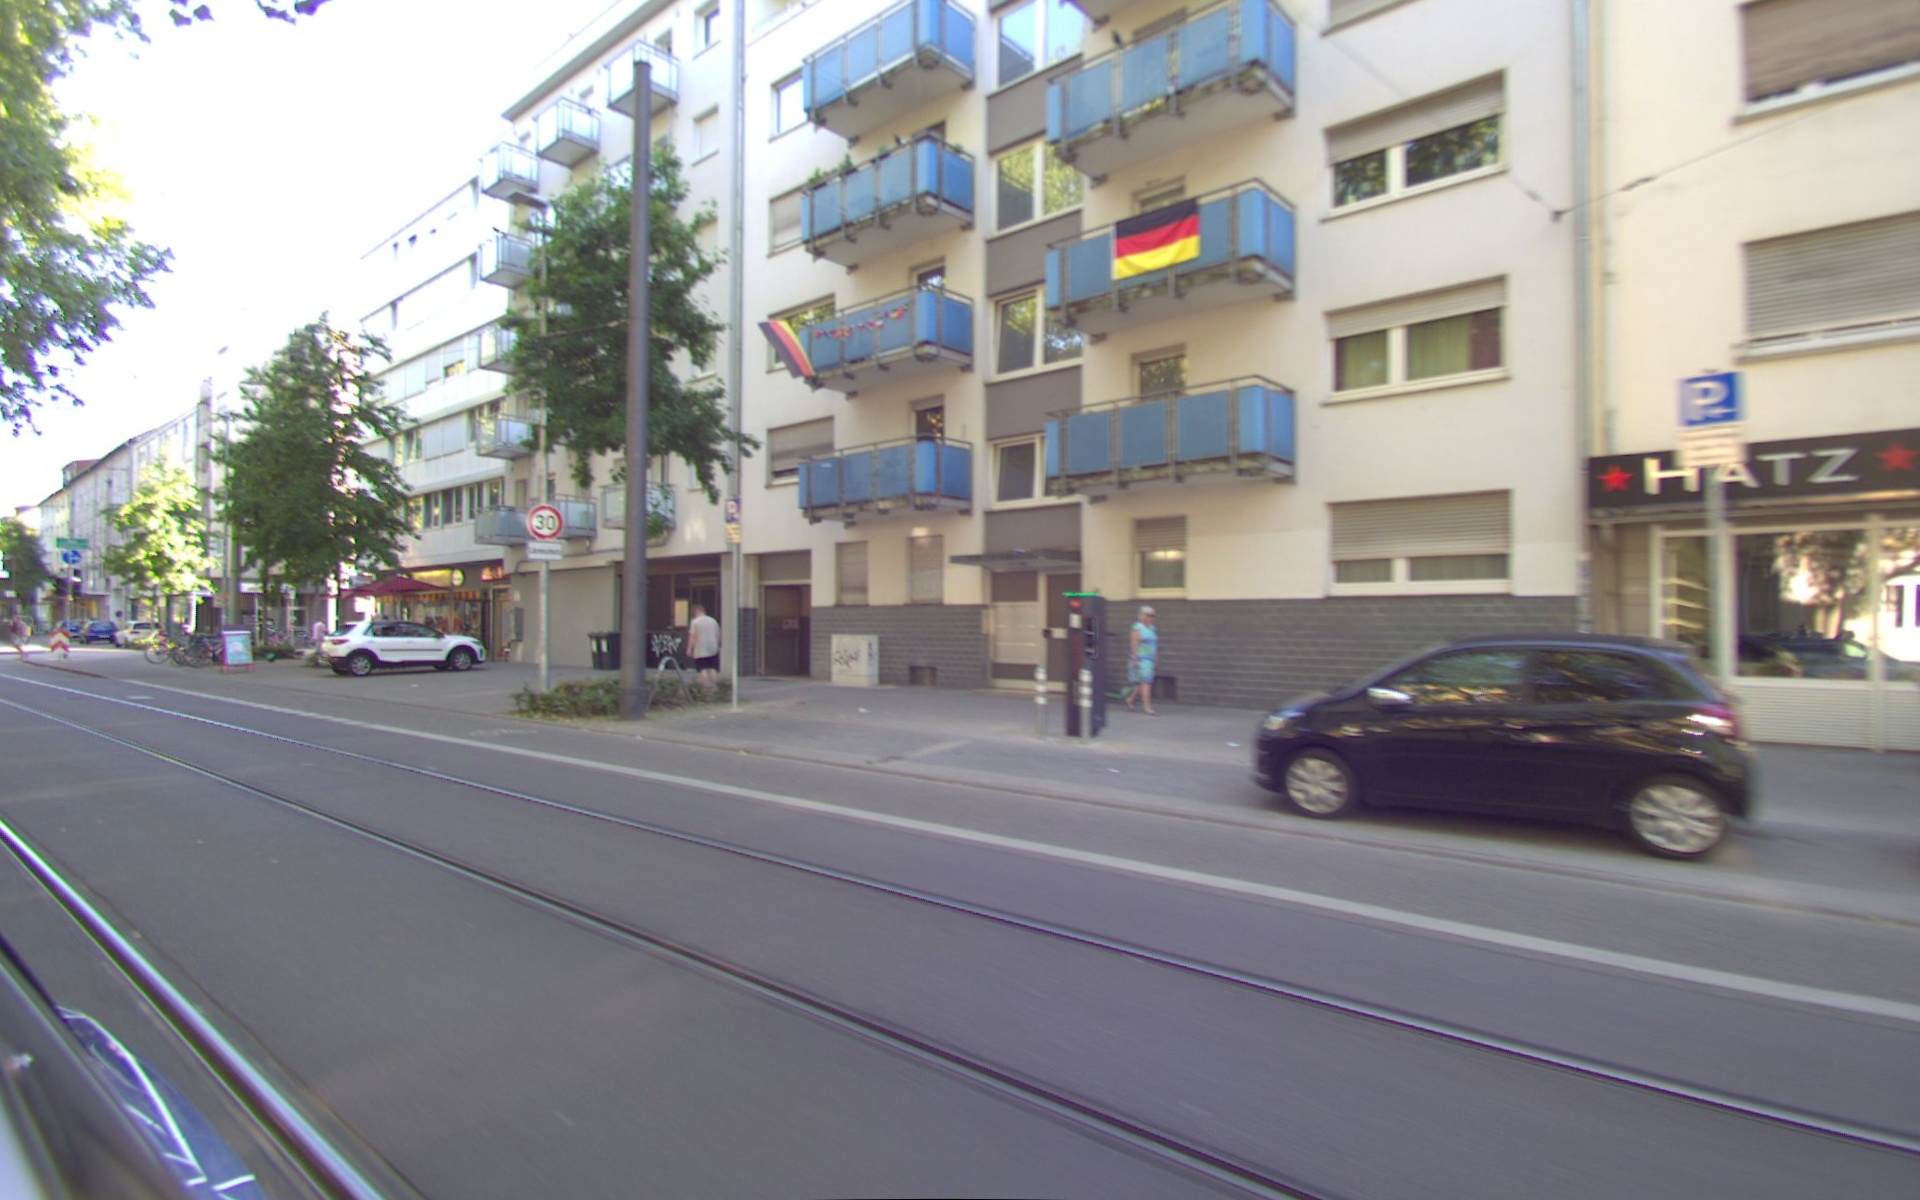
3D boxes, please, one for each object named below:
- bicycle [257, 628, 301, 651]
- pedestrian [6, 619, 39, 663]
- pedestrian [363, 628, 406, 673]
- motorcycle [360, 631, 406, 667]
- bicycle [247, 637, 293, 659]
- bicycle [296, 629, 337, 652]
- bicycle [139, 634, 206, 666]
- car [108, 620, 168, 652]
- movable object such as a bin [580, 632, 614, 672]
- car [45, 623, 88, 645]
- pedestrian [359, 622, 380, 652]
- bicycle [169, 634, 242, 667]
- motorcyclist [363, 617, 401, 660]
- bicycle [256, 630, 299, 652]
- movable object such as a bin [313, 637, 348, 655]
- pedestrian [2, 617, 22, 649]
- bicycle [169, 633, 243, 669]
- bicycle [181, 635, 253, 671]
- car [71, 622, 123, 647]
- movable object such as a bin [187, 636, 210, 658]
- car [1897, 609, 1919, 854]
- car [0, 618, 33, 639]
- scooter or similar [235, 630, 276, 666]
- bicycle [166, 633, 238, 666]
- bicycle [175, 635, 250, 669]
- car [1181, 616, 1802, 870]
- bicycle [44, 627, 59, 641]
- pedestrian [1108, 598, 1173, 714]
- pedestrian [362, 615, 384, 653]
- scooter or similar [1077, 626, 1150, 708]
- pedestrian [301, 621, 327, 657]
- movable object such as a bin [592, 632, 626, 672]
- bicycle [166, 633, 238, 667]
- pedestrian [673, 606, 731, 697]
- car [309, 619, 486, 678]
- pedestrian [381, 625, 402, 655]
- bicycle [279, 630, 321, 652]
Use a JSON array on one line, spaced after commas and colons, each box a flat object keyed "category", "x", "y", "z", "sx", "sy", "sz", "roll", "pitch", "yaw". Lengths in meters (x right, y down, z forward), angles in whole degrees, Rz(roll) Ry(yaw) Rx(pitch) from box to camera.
[{"category": "bicycle", "x": -35.795, "y": 2.070, "z": 53.186, "sx": 1.836, "sy": 1.165, "sz": 0.572, "roll": 2, "pitch": -3, "yaw": -44}, {"category": "pedestrian", "x": -36.054, "y": 1.577, "z": 38.909, "sx": 0.767, "sy": 1.684, "sz": 0.750, "roll": -1, "pitch": -3, "yaw": 36}, {"category": "pedestrian", "x": -16.969, "y": 1.472, "z": 29.834, "sx": 0.907, "sy": 1.307, "sz": 0.707, "roll": -1, "pitch": -2, "yaw": 28}, {"category": "motorcycle", "x": -19.833, "y": 1.667, "z": 34.763, "sx": 1.915, "sy": 1.173, "sz": 0.839, "roll": -2, "pitch": -3, "yaw": 43}, {"category": "bicycle", "x": -36.598, "y": 2.531, "z": 53.702, "sx": 0.568, "sy": 1.165, "sz": 2.024, "roll": 0, "pitch": -2, "yaw": 19}, {"category": "bicycle", "x": -34.316, "y": 2.155, "z": 53.970, "sx": 1.760, "sy": 1.165, "sz": 0.573, "roll": 2, "pitch": -2, "yaw": -37}, {"category": "bicycle", "x": -26.735, "y": 1.682, "z": 34.367, "sx": 0.657, "sy": 1.015, "sz": 1.675, "roll": -1, "pitch": -1, "yaw": 37}, {"category": "car", "x": -45.333, "y": 1.951, "z": 55.783, "sx": 4.356, "sy": 1.663, "sz": 1.858, "roll": -1, "pitch": 0, "yaw": 41}, {"category": "movable object such as a bin", "x": -9.991, "y": 1.420, "z": 27.861, "sx": 0.622, "sy": 1.063, "sz": 0.670, "roll": -2, "pitch": -3, "yaw": 43}, {"category": "car", "x": -62.856, "y": 2.384, "z": 71.175, "sx": 4.281, "sy": 1.475, "sz": 1.775, "roll": -1, "pitch": -3, "yaw": 42}, {"category": "pedestrian", "x": -23.851, "y": 1.478, "z": 40.886, "sx": 0.560, "sy": 1.207, "sz": 0.509, "roll": -1, "pitch": -2, "yaw": 26}, {"category": "bicycle", "x": -24.550, "y": 1.630, "z": 32.957, "sx": 0.657, "sy": 1.015, "sz": 1.812, "roll": -1, "pitch": -1, "yaw": 37}, {"category": "motorcyclist", "x": -19.879, "y": 1.325, "z": 34.801, "sx": 1.016, "sy": 1.452, "sz": 0.864, "roll": -2, "pitch": -3, "yaw": 43}, {"category": "bicycle", "x": -35.294, "y": 2.120, "z": 52.348, "sx": 1.759, "sy": 1.165, "sz": 0.574, "roll": 1, "pitch": -2, "yaw": -17}, {"category": "movable object such as a bin", "x": -28.582, "y": 2.081, "z": 45.940, "sx": 0.661, "sy": 0.763, "sz": 1.188, "roll": 0, "pitch": -1, "yaw": 20}, {"category": "pedestrian", "x": -47.552, "y": 1.653, "z": 50.742, "sx": 0.772, "sy": 1.597, "sz": 0.647, "roll": -1, "pitch": -2, "yaw": 42}, {"category": "bicycle", "x": -24.354, "y": 1.627, "z": 32.696, "sx": 0.657, "sy": 1.072, "sz": 1.812, "roll": -1, "pitch": -1, "yaw": 37}, {"category": "bicycle", "x": -22.851, "y": 1.608, "z": 31.129, "sx": 0.657, "sy": 1.015, "sz": 1.675, "roll": -1, "pitch": -1, "yaw": 37}, {"category": "car", "x": -54.412, "y": 2.168, "z": 63.781, "sx": 4.388, "sy": 1.556, "sz": 1.935, "roll": -1, "pitch": -3, "yaw": 42}, {"category": "movable object such as a bin", "x": -32.954, "y": 2.038, "z": 43.785, "sx": 0.646, "sy": 0.939, "sz": 0.536, "roll": -1, "pitch": -2, "yaw": 25}, {"category": "car", "x": 7.684, "y": 0.807, "z": 4.959, "sx": 4.371, "sy": 1.475, "sz": 1.697, "roll": -1, "pitch": 1, "yaw": 38}, {"category": "car", "x": -87.625, "y": 2.629, "z": 93.950, "sx": 4.047, "sy": 1.949, "sz": 1.785, "roll": -1, "pitch": -3, "yaw": 41}, {"category": "scooter or similar", "x": -24.036, "y": 1.616, "z": 34.532, "sx": 0.498, "sy": 1.185, "sz": 1.068, "roll": -1, "pitch": -1, "yaw": 40}, {"category": "bicycle", "x": -25.274, "y": 1.640, "z": 33.778, "sx": 0.657, "sy": 1.015, "sz": 1.812, "roll": -1, "pitch": -1, "yaw": 37}, {"category": "bicycle", "x": -23.700, "y": 1.634, "z": 32.122, "sx": 0.657, "sy": 1.015, "sz": 1.812, "roll": -1, "pitch": -1, "yaw": 37}, {"category": "car", "x": 3.976, "y": 0.912, "z": 8.031, "sx": 3.991, "sy": 1.475, "sz": 1.699, "roll": -1, "pitch": 1, "yaw": 35}, {"category": "bicycle", "x": -78.221, "y": 2.915, "z": 87.113, "sx": 2.034, "sy": 1.165, "sz": 0.565, "roll": -1, "pitch": -2, "yaw": 37}, {"category": "pedestrian", "x": 2.727, "y": 0.830, "z": 15.285, "sx": 0.748, "sy": 1.704, "sz": 0.657, "roll": -1, "pitch": -2, "yaw": 40}, {"category": "pedestrian", "x": -26.259, "y": 1.510, "z": 45.260, "sx": 0.756, "sy": 1.672, "sz": 0.751, "roll": 2, "pitch": -2, "yaw": -35}, {"category": "scooter or similar", "x": 2.525, "y": 1.090, "z": 16.728, "sx": 0.370, "sy": 1.299, "sz": 1.239, "roll": 4, "pitch": -4, "yaw": -40}, {"category": "pedestrian", "x": -28.529, "y": 1.706, "z": 44.723, "sx": 0.767, "sy": 1.568, "sz": 0.718, "roll": -1, "pitch": -3, "yaw": 36}, {"category": "movable object such as a bin", "x": -9.520, "y": 1.401, "z": 27.429, "sx": 0.574, "sy": 1.063, "sz": 0.665, "roll": -2, "pitch": -3, "yaw": 43}, {"category": "bicycle", "x": -25.008, "y": 1.636, "z": 33.414, "sx": 0.657, "sy": 1.015, "sz": 1.812, "roll": -1, "pitch": -1, "yaw": 37}, {"category": "pedestrian", "x": -4.980, "y": 0.980, "z": 19.561, "sx": 0.794, "sy": 1.704, "sz": 0.756, "roll": -1, "pitch": -2, "yaw": 40}, {"category": "car", "x": -15.621, "y": 1.290, "z": 28.208, "sx": 1.852, "sy": 1.486, "sz": 3.967, "roll": -1, "pitch": -1, "yaw": 44}, {"category": "pedestrian", "x": -23.129, "y": 1.613, "z": 41.169, "sx": 0.507, "sy": 1.207, "sz": 0.562, "roll": 0, "pitch": -2, "yaw": 7}, {"category": "bicycle", "x": -34.583, "y": 2.136, "z": 53.046, "sx": 1.759, "sy": 1.165, "sz": 0.574, "roll": 1, "pitch": -2, "yaw": -17}]
